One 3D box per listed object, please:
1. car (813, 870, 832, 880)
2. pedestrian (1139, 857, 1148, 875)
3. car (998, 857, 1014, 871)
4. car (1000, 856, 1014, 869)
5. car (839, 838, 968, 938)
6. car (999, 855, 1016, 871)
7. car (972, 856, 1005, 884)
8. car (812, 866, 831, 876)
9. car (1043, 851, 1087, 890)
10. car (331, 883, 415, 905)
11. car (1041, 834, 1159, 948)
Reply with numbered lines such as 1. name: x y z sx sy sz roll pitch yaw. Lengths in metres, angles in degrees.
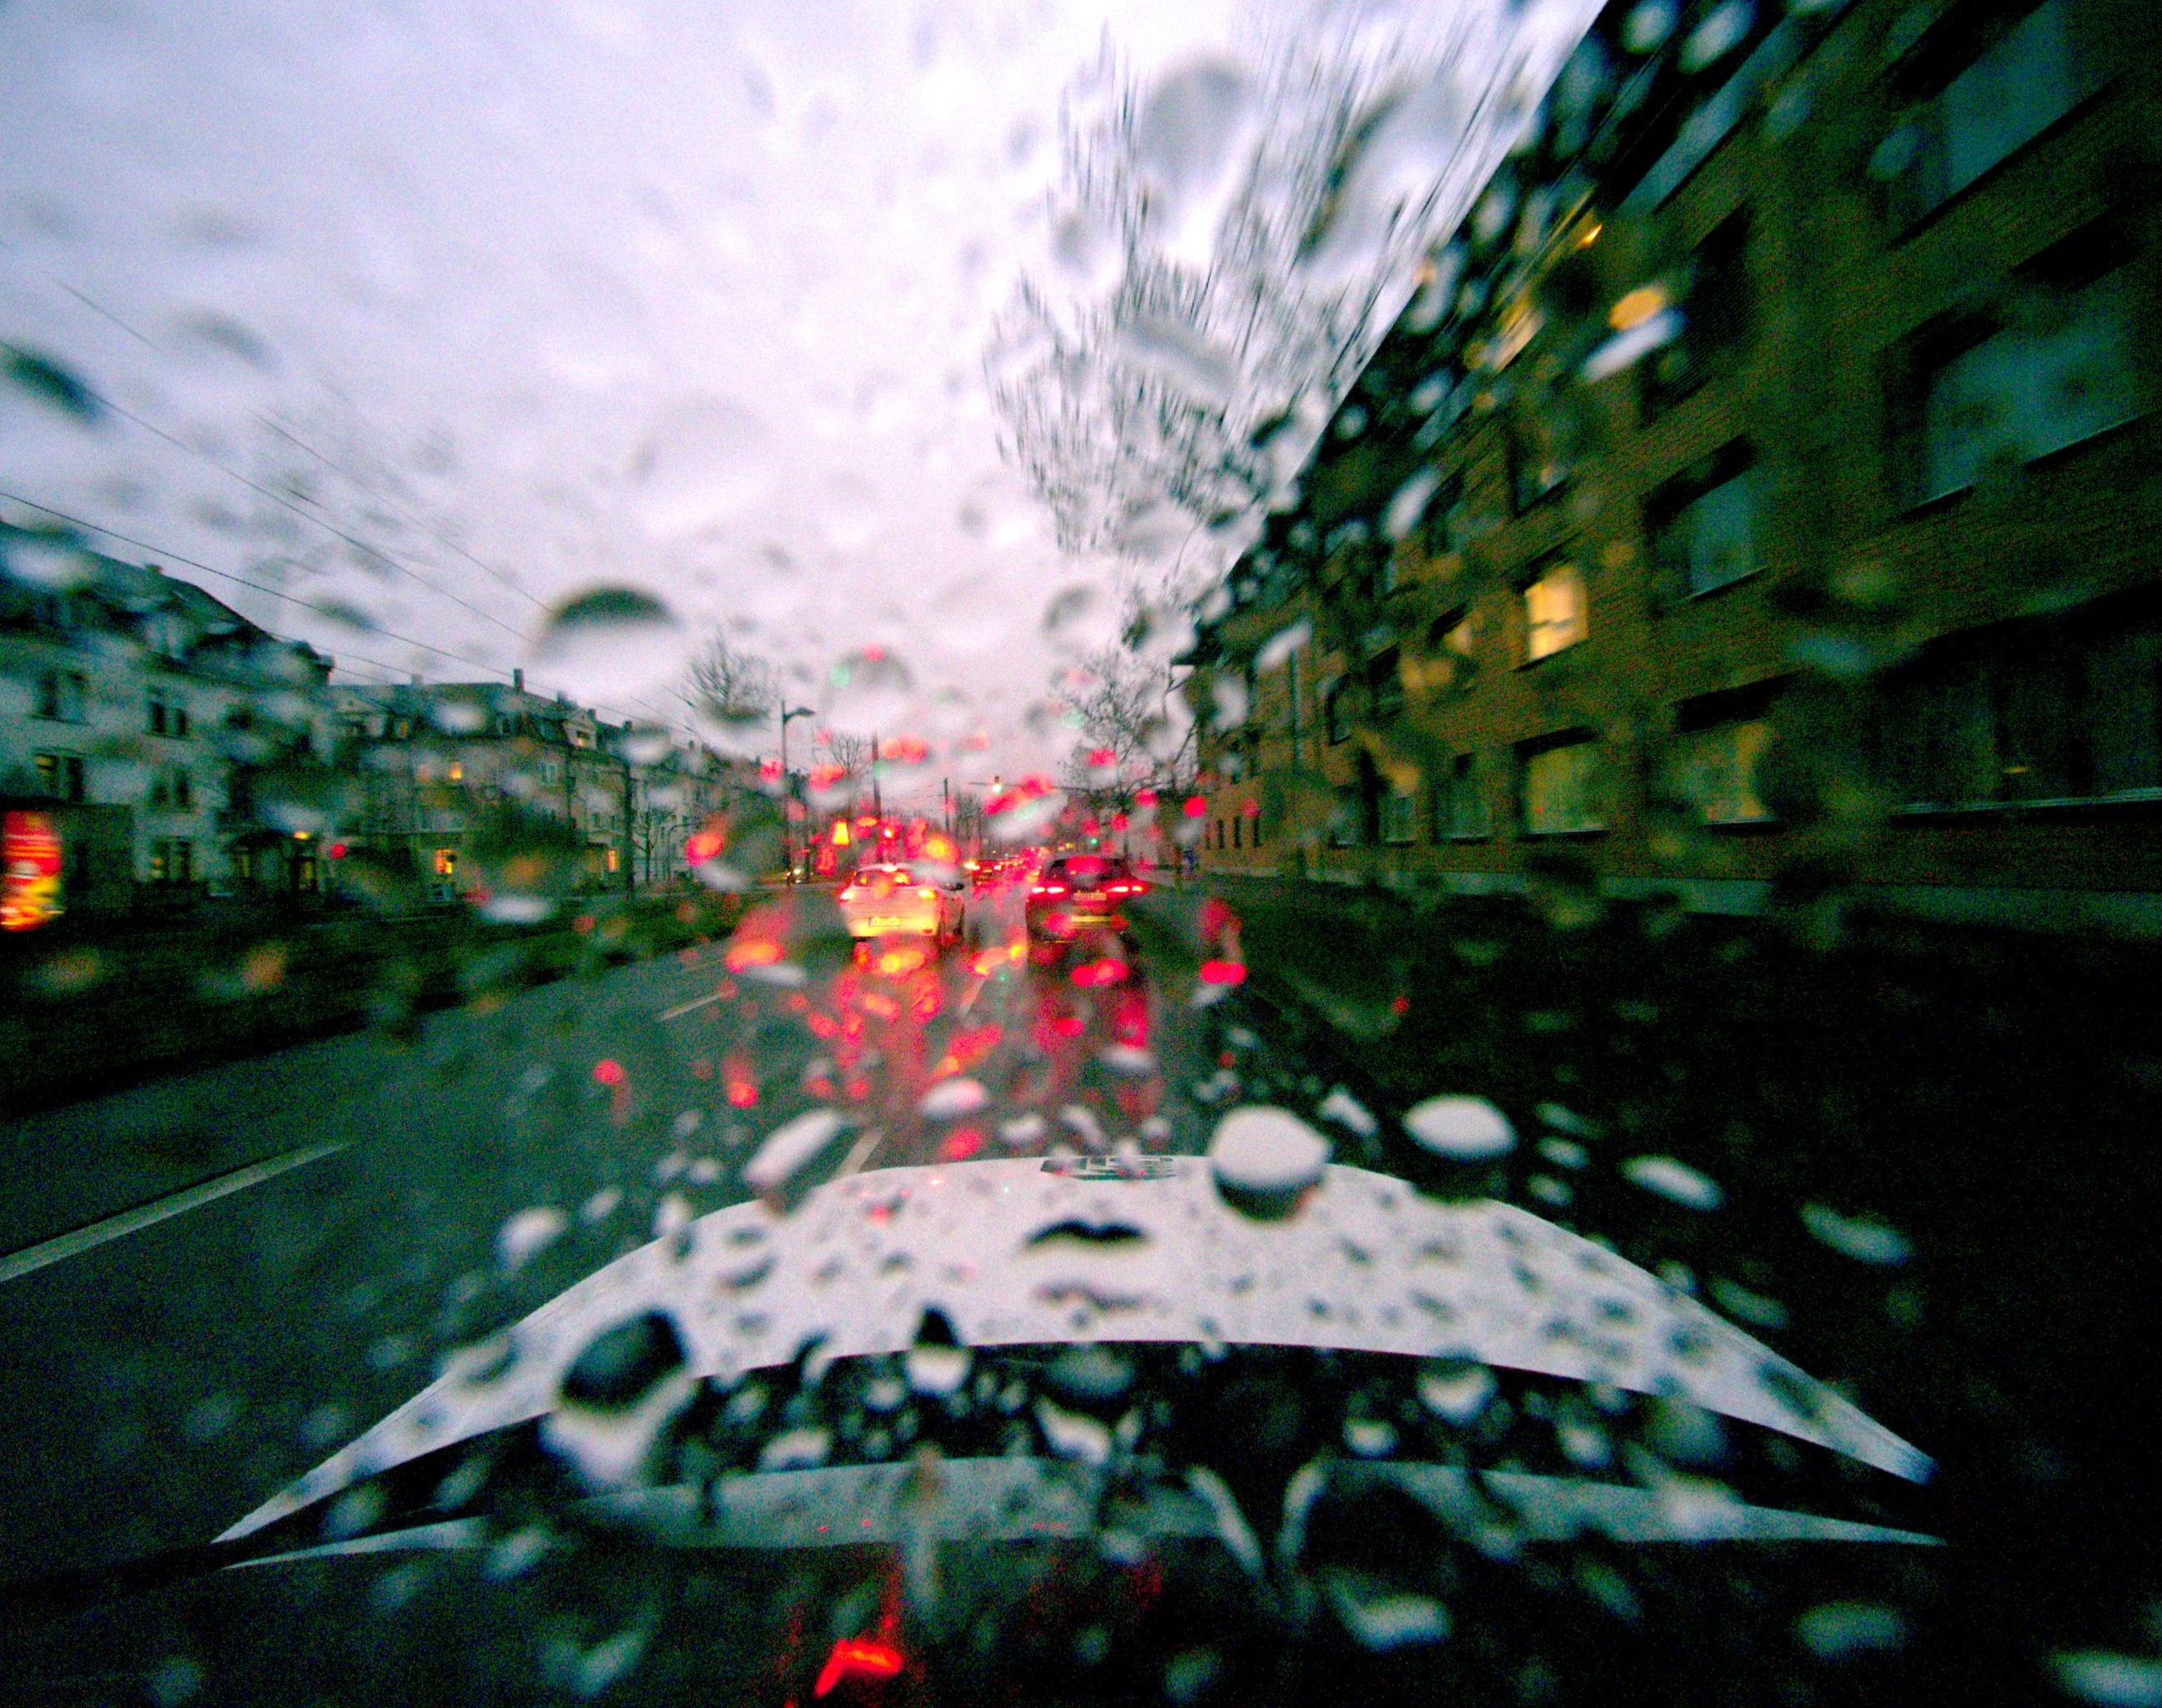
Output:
1. car: -37.660 3.042 118.660 1.772 1.354 3.552 -2 0 -4
2. pedestrian: 5.789 1.137 75.801 0.620 1.610 1.064 -2 0 -7
3. car: -11.159 1.472 121.463 1.988 2.014 3.997 0 -1 -2
4. car: -12.386 1.374 137.050 1.988 2.013 3.997 -2 0 -2
5. car: -3.173 0.565 15.325 1.668 1.600 4.049 -1 -1 -3
6. car: -9.410 1.126 104.697 1.988 2.014 3.997 0 -1 -2
7. car: -5.661 0.957 50.093 1.668 1.600 4.049 -1 -1 -3
8. car: -37.945 2.513 119.193 1.772 1.354 3.552 -2 0 -4
9. car: -0.830 0.803 40.053 1.989 1.744 3.996 -2 0 -3
10. car: -50.573 2.845 58.242 3.985 1.420 1.994 -2 -1 -9
11. car: 0.191 0.551 13.722 1.668 1.600 4.049 -1 -1 -3
